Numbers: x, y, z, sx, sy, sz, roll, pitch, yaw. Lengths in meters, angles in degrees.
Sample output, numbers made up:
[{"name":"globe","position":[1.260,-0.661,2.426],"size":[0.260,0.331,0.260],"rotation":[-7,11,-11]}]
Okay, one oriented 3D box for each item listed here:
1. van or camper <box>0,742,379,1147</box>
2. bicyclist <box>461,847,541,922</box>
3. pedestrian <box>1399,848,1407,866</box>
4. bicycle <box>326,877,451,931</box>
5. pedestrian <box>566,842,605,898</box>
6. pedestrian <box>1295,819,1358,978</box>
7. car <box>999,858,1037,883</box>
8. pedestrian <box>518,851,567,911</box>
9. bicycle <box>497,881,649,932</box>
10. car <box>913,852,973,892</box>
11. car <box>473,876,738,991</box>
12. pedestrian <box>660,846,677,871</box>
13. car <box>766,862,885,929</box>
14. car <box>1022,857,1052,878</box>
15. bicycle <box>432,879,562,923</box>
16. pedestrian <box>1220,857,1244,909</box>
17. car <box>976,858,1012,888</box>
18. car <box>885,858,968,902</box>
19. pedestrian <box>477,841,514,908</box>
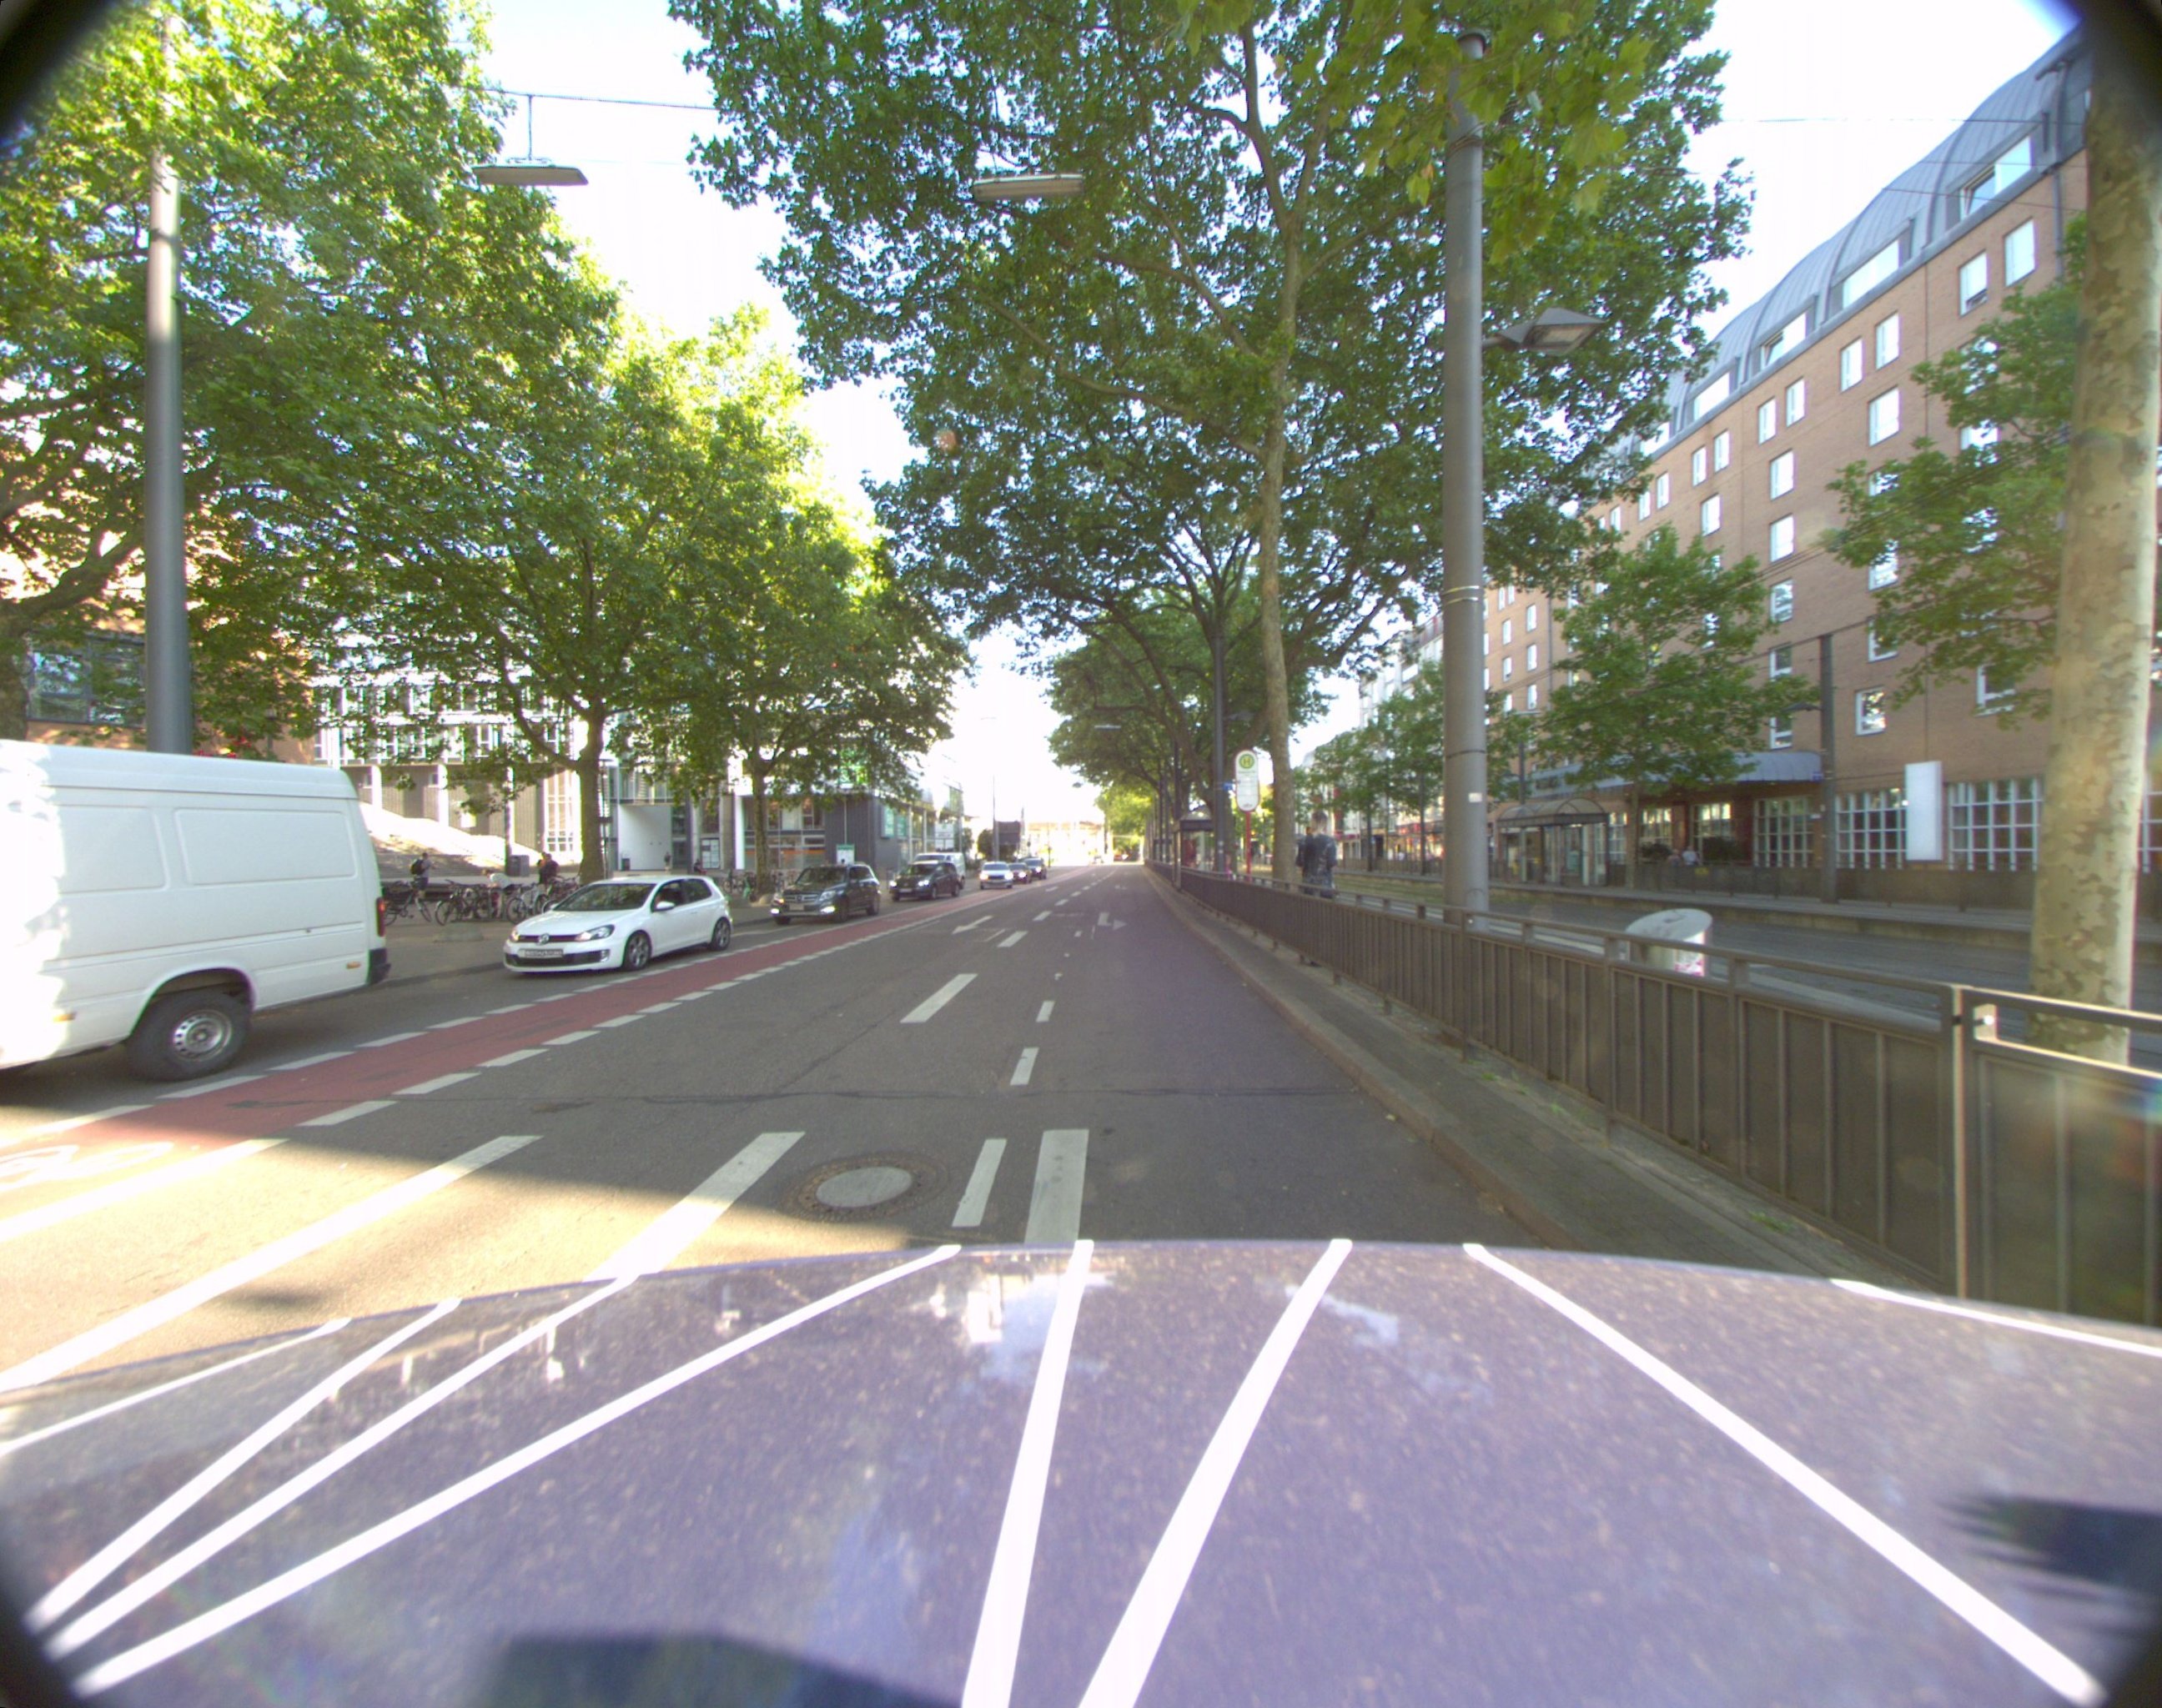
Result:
[{"name":"van or camper","position":[-7.958,0.594,4.212],"size":[2.005,2.599,6.498],"rotation":[-1,0,1]},{"name":"bicyclist","position":[-16.025,0.816,21.016],"size":[1.296,2.002,1.158],"rotation":[-1,1,17]},{"name":"pedestrian","position":[30.585,0.289,72.111],"size":[0.504,1.725,0.574],"rotation":[-1,1,3]},{"name":"bicycle","position":[-17.846,1.248,19.710],"size":[0.699,1.193,2.700],"rotation":[-2,1,1]},{"name":"pedestrian","position":[-20.043,0.628,30.716],"size":[0.842,2.220,0.905],"rotation":[-2,1,22]},{"name":"pedestrian","position":[2.905,0.516,9.030],"size":[0.543,1.823,0.524],"rotation":[-2,1,4]},{"name":"car","position":[-4.209,1.097,51.281],"size":[1.835,1.481,4.196],"rotation":[-3,0,5]},{"name":"pedestrian","position":[-20.964,1.044,29.595],"size":[1.048,2.235,1.221],"rotation":[-1,1,38]},{"name":"bicycle","position":[-13.001,1.310,19.646],"size":[0.975,1.020,3.208],"rotation":[-2,1,23]},{"name":"car","position":[-7.388,0.881,41.291],"size":[1.933,1.953,5.919],"rotation":[-2,0,2]},{"name":"car","position":[-7.483,1.157,12.493],"size":[1.639,1.420,3.987],"rotation":[-2,0,3]},{"name":"pedestrian","position":[-34.120,0.344,62.903],"size":[0.797,2.002,0.875],"rotation":[-2,1,1]},{"name":"car","position":[-7.100,1.085,21.570],"size":[1.769,1.626,4.250],"rotation":[-2,0,2]},{"name":"car","position":[-3.417,1.006,59.801],"size":[1.784,1.481,4.196],"rotation":[-3,0,5]},{"name":"bicycle","position":[-16.210,1.266,21.090],"size":[3.328,1.077,1.150],"rotation":[0,1,18]},{"name":"pedestrian","position":[3.930,0.739,19.765],"size":[0.542,1.310,0.524],"rotation":[-2,1,12]},{"name":"car","position":[-4.798,1.004,42.165],"size":[1.836,1.481,4.193],"rotation":[-2,0,-5]},{"name":"car","position":[-6.452,1.038,32.200],"size":[1.708,1.626,4.394],"rotation":[-2,0,13]},{"name":"pedestrian","position":[-23.789,0.807,30.905],"size":[0.981,2.633,0.900],"rotation":[-3,1,-31]}]
